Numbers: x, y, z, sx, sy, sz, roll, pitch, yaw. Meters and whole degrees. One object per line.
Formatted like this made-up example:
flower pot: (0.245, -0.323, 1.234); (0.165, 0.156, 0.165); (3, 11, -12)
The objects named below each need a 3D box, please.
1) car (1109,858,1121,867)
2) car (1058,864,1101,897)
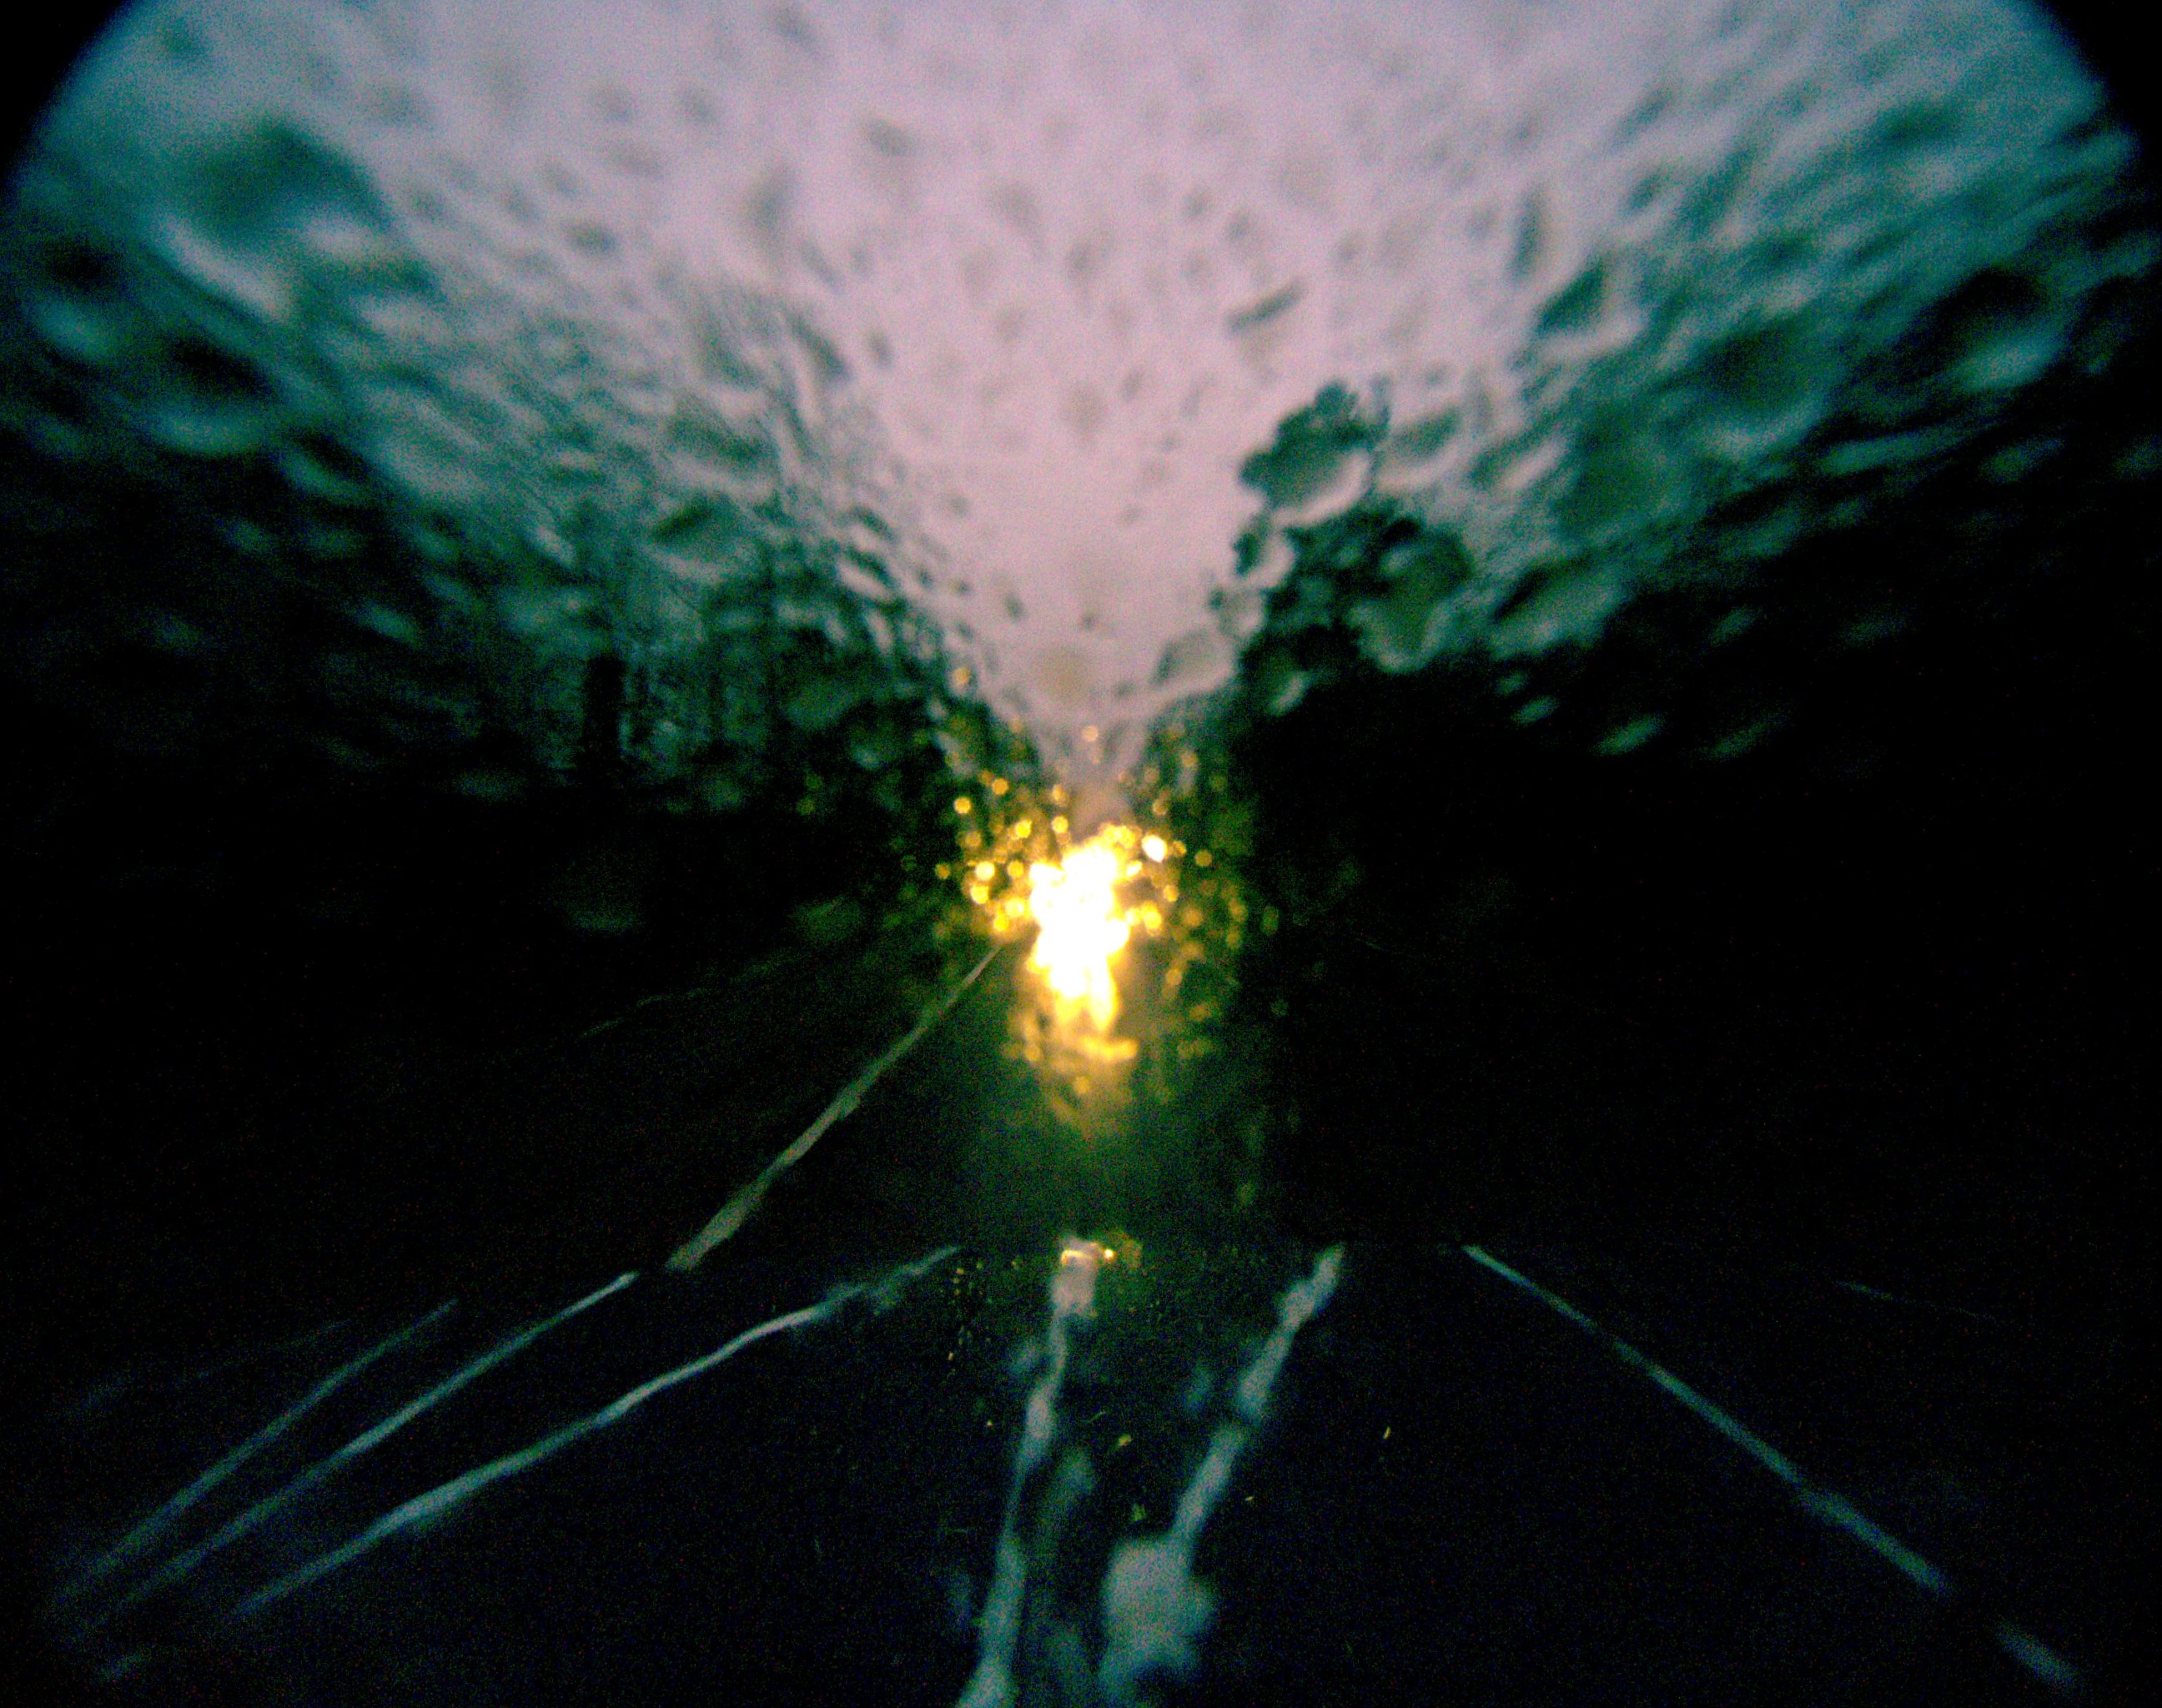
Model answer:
car: (5.268, 1.378, 119.256); (1.708, 1.355, 4.377); (-2, -1, 1)
car: (-0.028, 1.161, 34.652); (1.845, 1.390, 4.000); (0, 0, 1)
